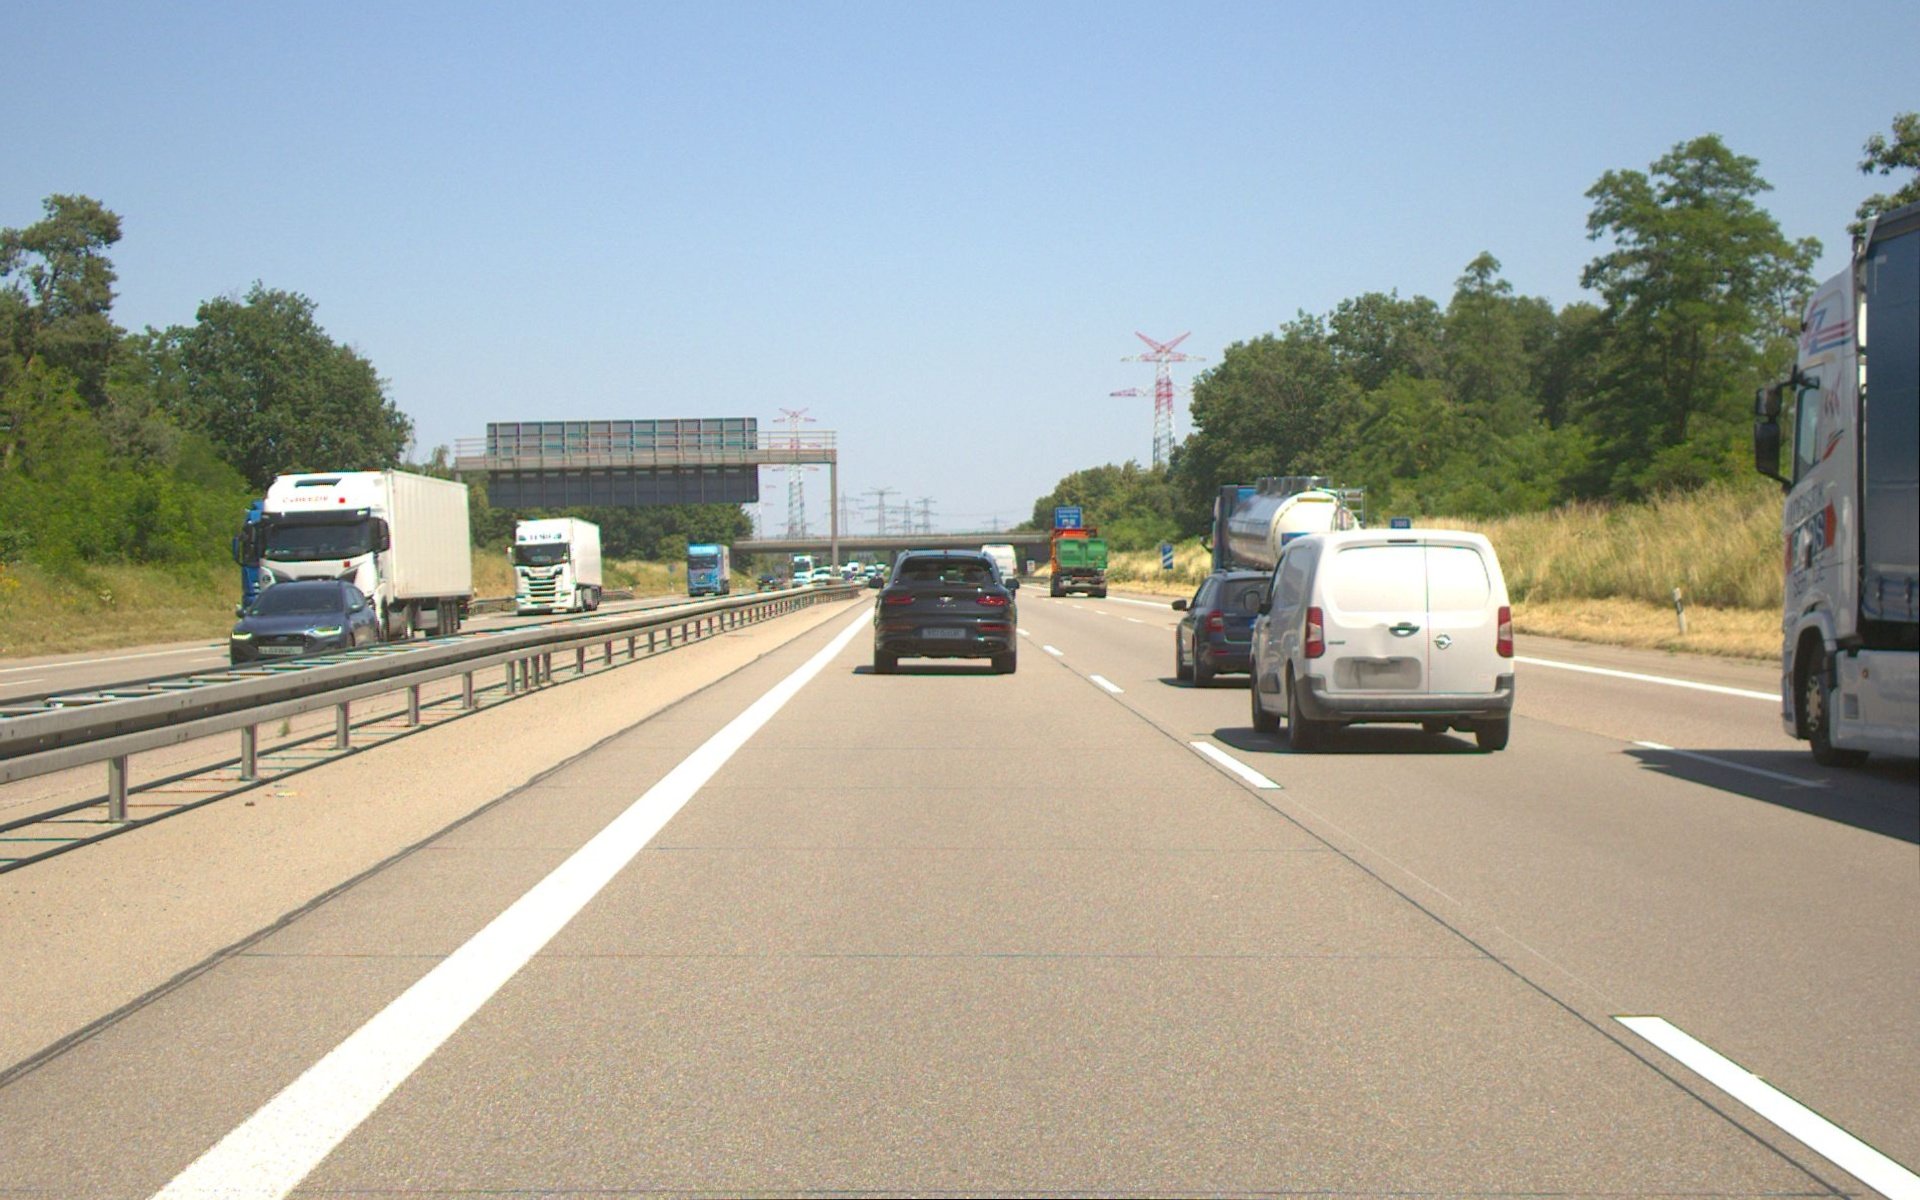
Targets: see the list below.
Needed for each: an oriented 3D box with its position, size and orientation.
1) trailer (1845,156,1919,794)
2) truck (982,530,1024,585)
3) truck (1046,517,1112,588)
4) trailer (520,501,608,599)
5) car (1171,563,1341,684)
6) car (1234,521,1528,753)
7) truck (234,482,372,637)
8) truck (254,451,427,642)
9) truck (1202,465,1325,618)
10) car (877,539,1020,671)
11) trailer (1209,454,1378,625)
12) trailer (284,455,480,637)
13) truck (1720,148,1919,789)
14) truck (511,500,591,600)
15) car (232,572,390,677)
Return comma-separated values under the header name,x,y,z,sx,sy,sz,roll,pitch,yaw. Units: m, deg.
name,x,y,z,sx,sy,sz,roll,pitch,yaw
trailer,8.055,-0.755,17.540,3.286,4.205,13.566,1,1,-1
truck,2.330,-2.292,186.902,2.060,2.904,7.004,0,1,-1
truck,6.391,-2.563,186.281,2.989,3.716,10.090,1,1,-1
trailer,-18.009,-2.268,156.883,2.702,4.172,12.064,-2,1,-1
car,3.745,0.272,44.039,1.774,1.467,3.873,0,1,-1
car,3.526,0.261,29.687,1.814,1.821,5.111,0,1,-1
truck,-18.540,-1.153,97.312,2.668,4.155,6.189,-2,1,-1
truck,-13.736,-1.188,76.625,2.668,3.976,6.342,-2,1,-1
truck,7.867,-1.508,89.566,2.682,3.824,4.444,1,0,-1
car,-0.229,0.017,49.778,1.940,1.746,5.814,0,1,-1
trailer,7.980,-1.439,83.867,2.682,3.824,12.011,1,1,-1
trailer,-13.892,-1.299,83.716,2.668,3.976,13.132,-2,1,-1
truck,7.896,-0.872,24.931,3.286,4.205,6.008,1,1,-1
truck,-17.868,-2.184,150.563,2.702,4.172,6.189,-2,1,-1
car,-10.038,0.345,53.461,1.617,1.477,4.625,-2,1,-1
